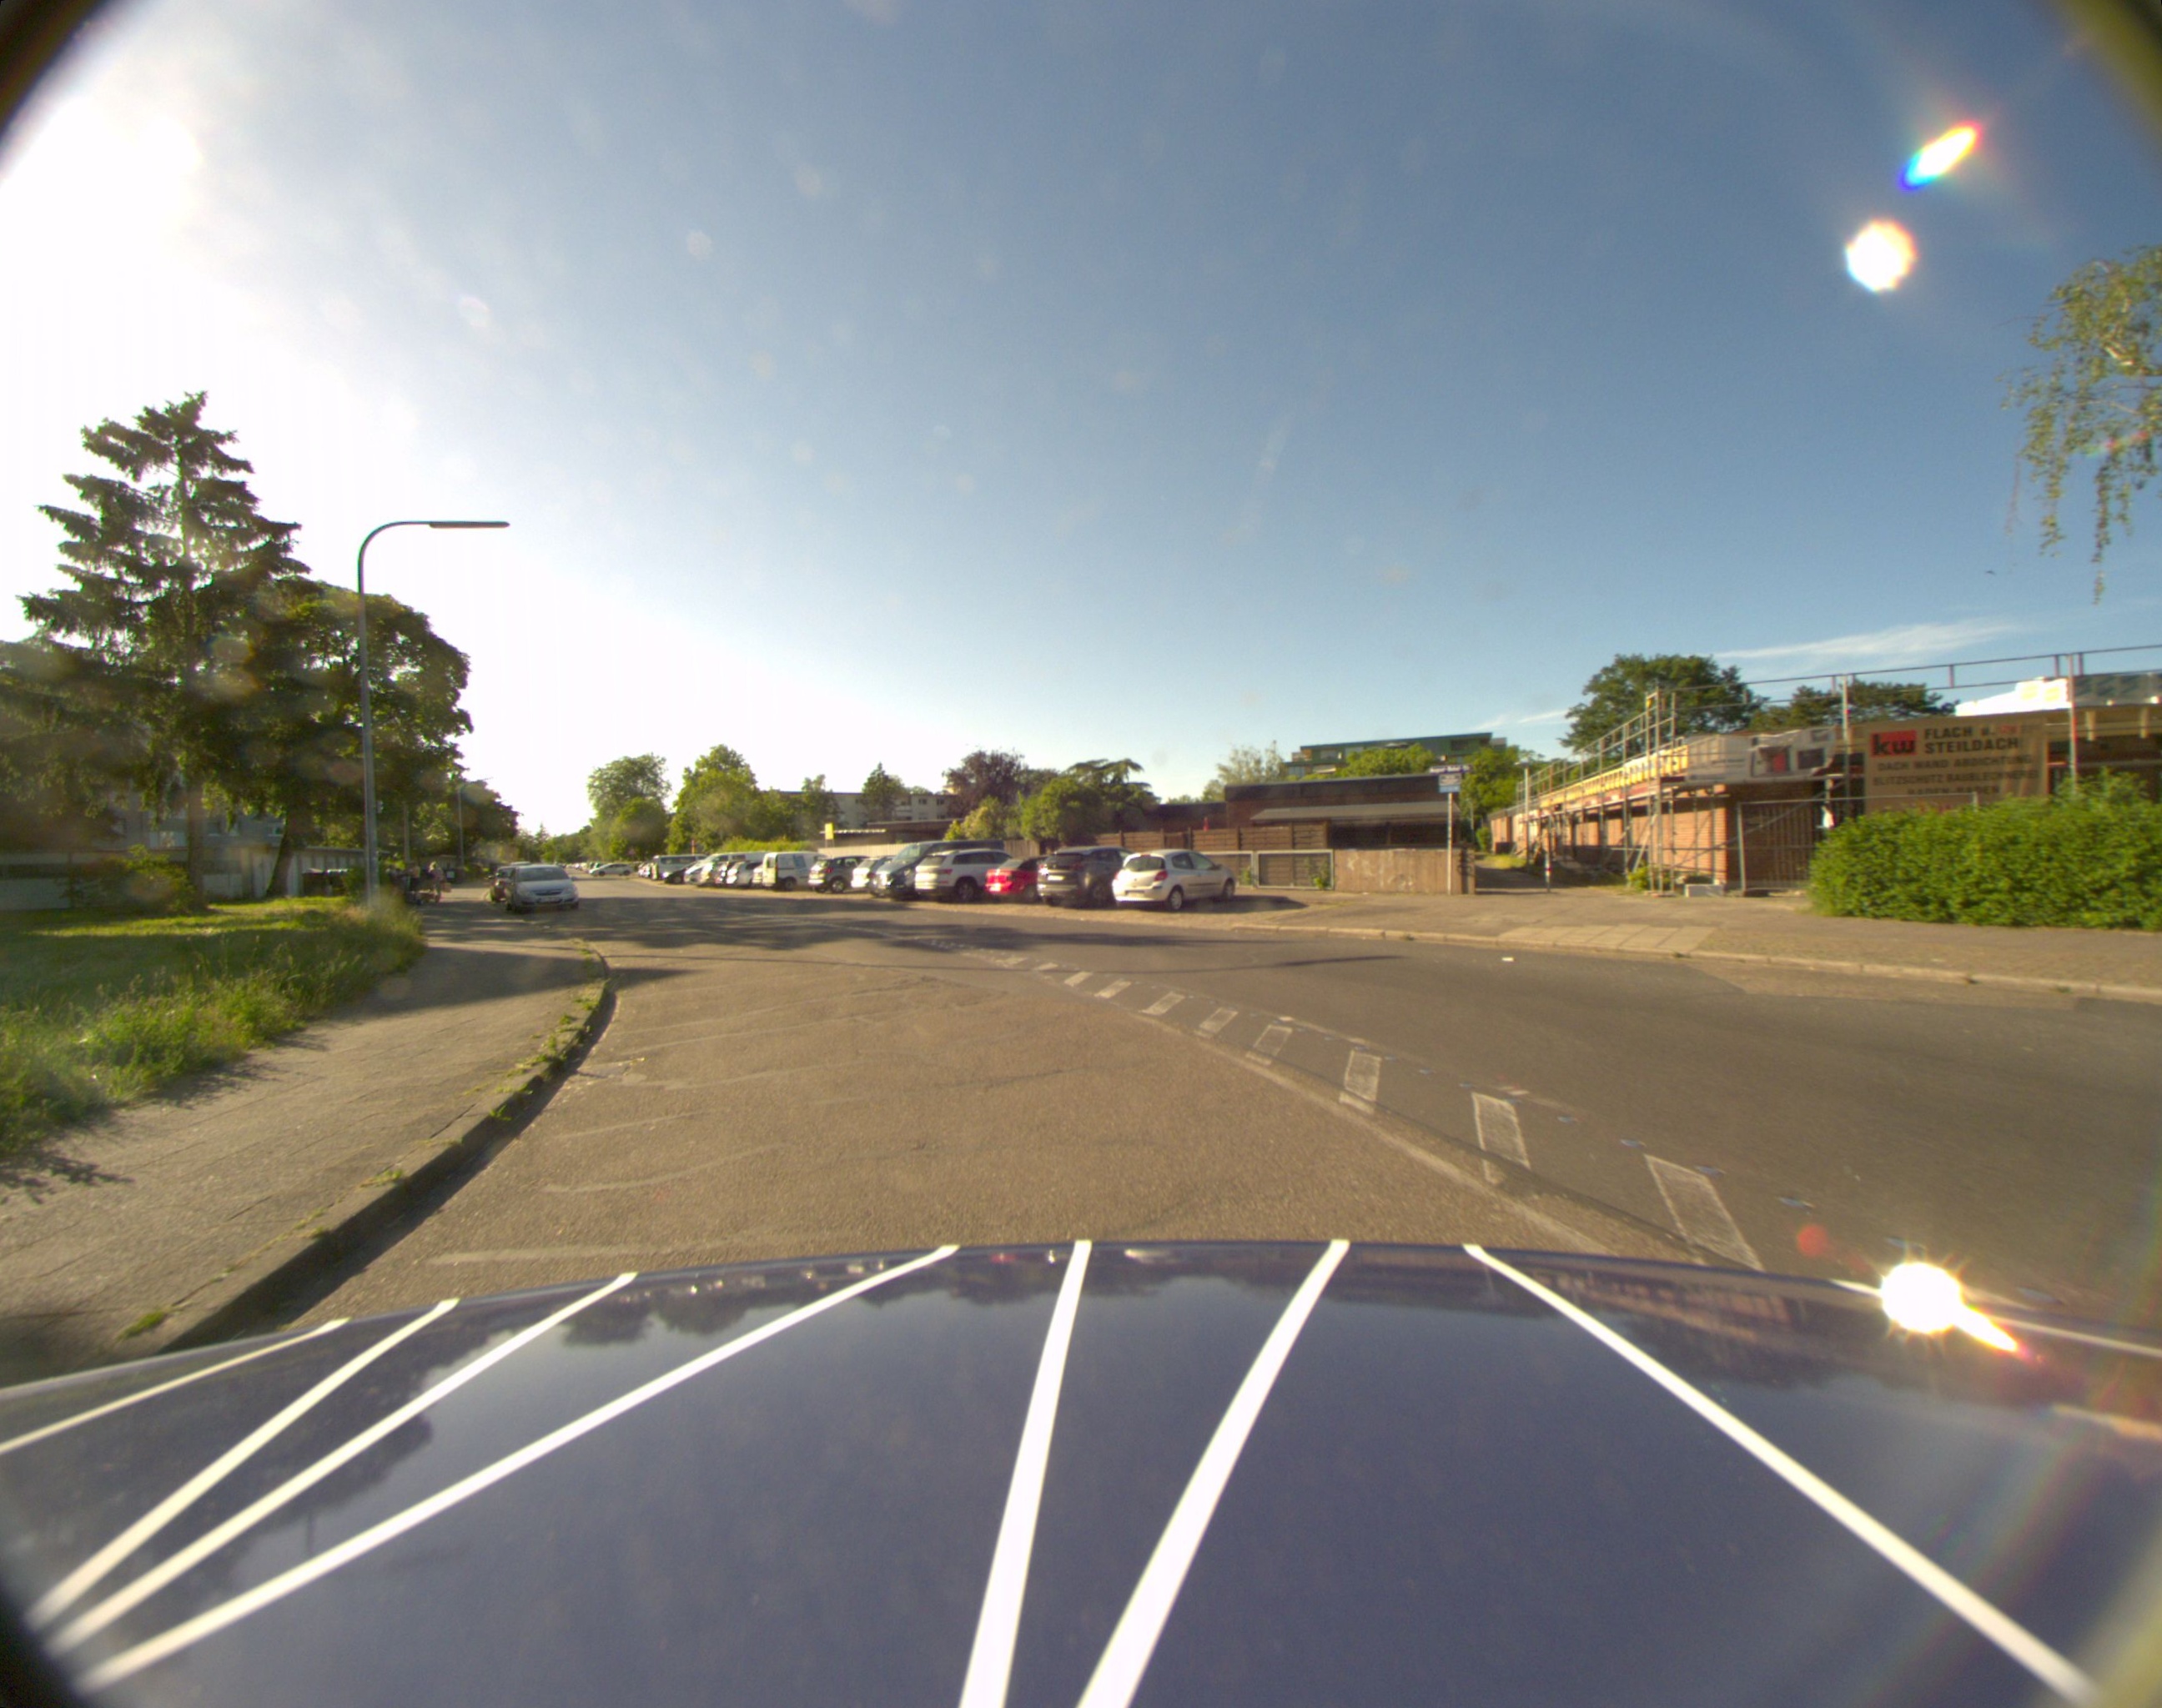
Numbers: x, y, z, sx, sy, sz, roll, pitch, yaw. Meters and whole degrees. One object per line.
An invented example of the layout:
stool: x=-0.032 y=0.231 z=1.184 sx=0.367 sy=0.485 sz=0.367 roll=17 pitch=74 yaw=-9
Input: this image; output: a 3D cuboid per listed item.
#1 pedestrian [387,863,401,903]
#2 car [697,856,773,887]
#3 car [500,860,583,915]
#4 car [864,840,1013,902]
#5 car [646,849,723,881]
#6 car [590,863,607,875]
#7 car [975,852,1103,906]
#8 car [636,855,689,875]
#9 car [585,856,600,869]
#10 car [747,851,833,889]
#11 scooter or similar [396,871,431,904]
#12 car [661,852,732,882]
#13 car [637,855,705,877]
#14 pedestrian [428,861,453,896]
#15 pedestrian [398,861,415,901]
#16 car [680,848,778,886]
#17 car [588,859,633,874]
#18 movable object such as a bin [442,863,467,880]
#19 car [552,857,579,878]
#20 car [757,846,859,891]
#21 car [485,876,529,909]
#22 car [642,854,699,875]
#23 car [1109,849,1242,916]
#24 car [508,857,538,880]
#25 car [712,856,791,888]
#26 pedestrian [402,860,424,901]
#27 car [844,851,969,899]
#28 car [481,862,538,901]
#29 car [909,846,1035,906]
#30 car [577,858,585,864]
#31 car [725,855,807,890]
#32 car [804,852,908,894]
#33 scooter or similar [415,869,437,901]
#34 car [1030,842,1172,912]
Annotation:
pedestrian: x=-25.929 y=1.076 z=28.666 sx=0.363 sy=1.494 sz=0.499 roll=-1 pitch=2 yaw=-42
car: x=-19.641 y=0.953 z=43.195 sx=3.531 sy=1.438 sz=1.632 roll=-5 pitch=4 yaw=-43
car: x=-17.544 y=1.029 z=24.646 sx=1.740 sy=1.534 sz=3.778 roll=-3 pitch=2 yaw=-41
car: x=-4.954 y=0.527 z=27.007 sx=1.994 sy=1.905 sz=4.897 roll=0 pitch=2 yaw=44
car: x=-28.295 y=0.752 z=54.319 sx=4.500 sy=1.966 sz=1.994 roll=-5 pitch=3 yaw=-36
car: x=-67.652 y=2.140 z=106.456 sx=1.822 sy=1.672 sz=3.639 roll=1 pitch=-1 yaw=-34
car: x=-1.251 y=0.718 z=23.619 sx=3.630 sy=1.337 sz=1.728 roll=-5 pitch=3 yaw=-42
car: x=-39.324 y=1.023 z=71.434 sx=4.006 sy=1.524 sz=1.827 roll=-5 pitch=3 yaw=-36
car: x=-75.710 y=1.368 z=117.720 sx=1.915 sy=1.930 sz=4.499 roll=1 pitch=-1 yaw=-34
car: x=-14.396 y=0.737 z=37.700 sx=3.530 sy=1.481 sz=1.722 roll=-7 pitch=6 yaw=-41
scooter or similar: x=-24.762 y=1.231 z=28.173 sx=1.251 sy=1.220 sz=0.401 roll=0 pitch=1 yaw=20
car: x=-26.278 y=0.867 z=52.008 sx=4.170 sy=1.697 sz=1.879 roll=-4 pitch=3 yaw=-29
car: x=-33.097 y=0.951 z=61.407 sx=4.565 sy=1.471 sz=1.743 roll=-4 pitch=2 yaw=-35
pedestrian: x=-29.950 y=1.149 z=35.523 sx=0.791 sy=1.556 sz=0.568 roll=-5 pitch=4 yaw=-39
pedestrian: x=-26.612 y=1.056 z=29.965 sx=0.488 sy=1.556 sz=0.467 roll=-1 pitch=2 yaw=-43
car: x=-21.005 y=0.736 z=45.451 sx=4.812 sy=1.910 sz=2.076 roll=-5 pitch=3 yaw=-41
car: x=-54.112 y=1.379 z=87.380 sx=1.559 sy=1.449 sz=4.007 roll=0 pitch=3 yaw=40
movable object such as a bin: x=-51.058 y=1.426 z=61.925 sx=1.255 sy=1.340 sz=1.050 roll=-2 pitch=2 yaw=-23
car: x=-43.422 y=1.119 z=63.953 sx=1.736 sy=1.586 sz=3.802 roll=-3 pitch=1 yaw=-35
car: x=-12.827 y=0.644 z=35.838 sx=3.997 sy=1.770 sz=1.920 roll=-5 pitch=3 yaw=-42
car: x=-28.997 y=1.916 z=38.353 sx=1.656 sy=1.395 sz=3.871 roll=-2 pitch=1 yaw=-38
car: x=-35.078 y=0.889 z=64.962 sx=4.006 sy=1.471 sz=1.786 roll=-4 pitch=2 yaw=-35
car: x=2.547 y=0.671 z=19.867 sx=1.630 sy=1.450 sz=3.705 roll=0 pitch=2 yaw=41
car: x=-48.581 y=1.260 z=66.232 sx=1.916 sy=1.830 sz=5.261 roll=-5 pitch=2 yaw=-35
car: x=-17.803 y=0.953 z=41.123 sx=3.531 sy=1.480 sz=1.632 roll=-4 pitch=1 yaw=-41
pedestrian: x=-25.774 y=1.013 z=29.322 sx=0.483 sy=1.556 sz=0.595 roll=0 pitch=1 yaw=-29
car: x=-6.589 y=0.746 z=28.936 sx=4.158 sy=1.484 sz=1.920 roll=-4 pitch=3 yaw=-41
car: x=-24.355 y=1.127 z=32.320 sx=1.583 sy=1.438 sz=3.778 roll=-3 pitch=2 yaw=-41
car: x=-3.510 y=0.645 z=24.741 sx=3.630 sy=1.598 sz=1.728 roll=-5 pitch=4 yaw=-42
car: x=-134.360 y=1.808 z=204.042 sx=1.637 sy=1.619 sz=3.547 roll=1 pitch=-1 yaw=-35
car: x=-16.307 y=0.918 z=39.368 sx=3.530 sy=1.481 sz=1.632 roll=-5 pitch=3 yaw=-37
car: x=-9.605 y=0.765 z=32.594 sx=3.833 sy=1.524 sz=1.784 roll=-3 pitch=2 yaw=-45
scooter or similar: x=-26.165 y=1.222 z=30.361 sx=0.626 sy=1.220 sz=0.902 roll=-1 pitch=1 yaw=-39
car: x=0.643 y=0.565 z=21.528 sx=1.813 sy=1.603 sz=4.007 roll=0 pitch=3 yaw=41
